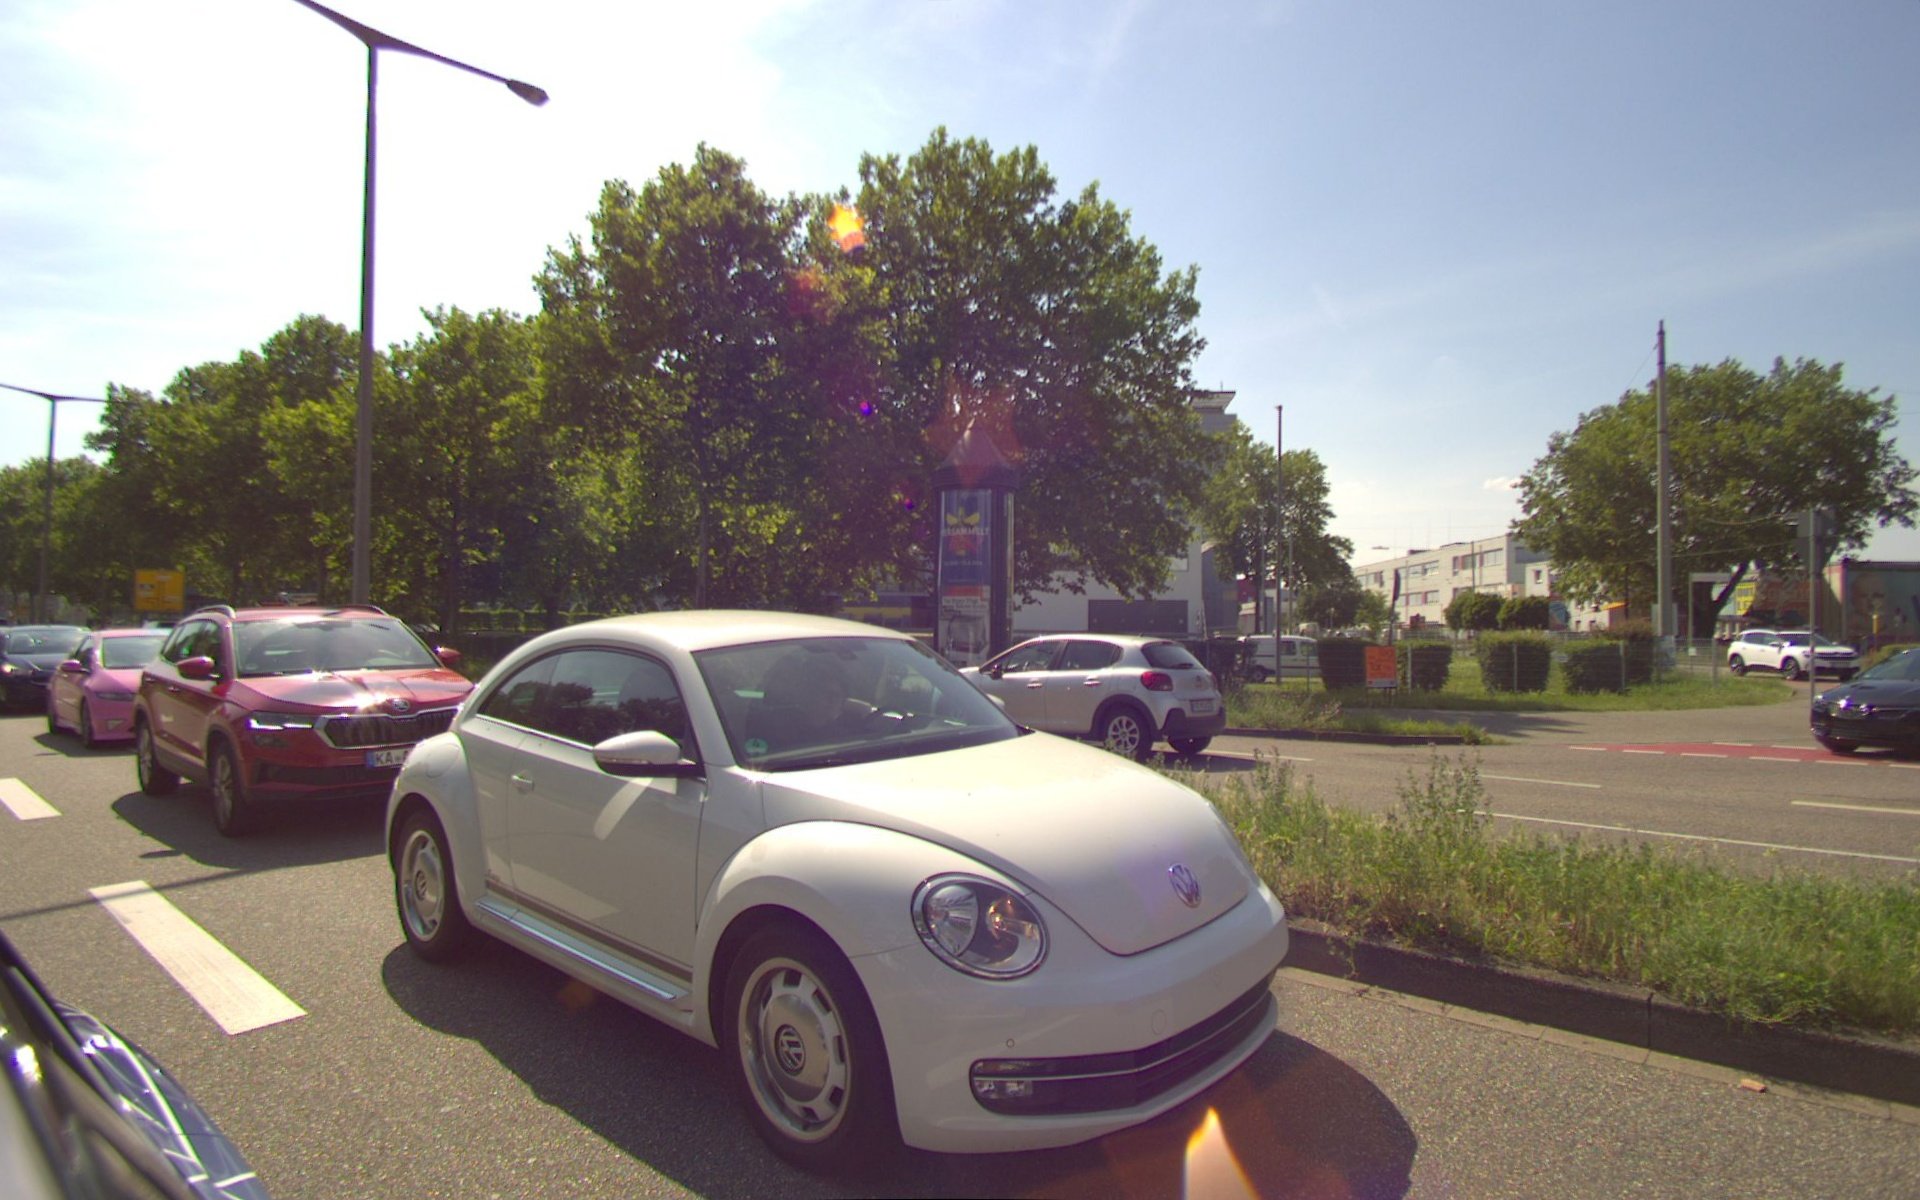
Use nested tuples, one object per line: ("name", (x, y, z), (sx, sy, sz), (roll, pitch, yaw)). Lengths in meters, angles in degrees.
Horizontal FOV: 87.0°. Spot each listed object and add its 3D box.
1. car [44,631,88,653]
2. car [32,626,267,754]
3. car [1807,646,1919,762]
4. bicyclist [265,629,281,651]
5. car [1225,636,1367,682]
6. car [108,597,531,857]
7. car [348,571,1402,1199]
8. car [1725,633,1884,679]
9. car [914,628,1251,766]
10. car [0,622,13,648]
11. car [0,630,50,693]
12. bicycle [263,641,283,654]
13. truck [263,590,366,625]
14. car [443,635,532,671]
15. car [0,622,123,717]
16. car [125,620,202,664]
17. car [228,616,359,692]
("car", (-62.189, 2.907, 70.392), (4.357, 1.409, 1.768), (-1, -4, 42))
("car", (-10.892, 1.083, 13.474), (4.470, 1.400, 1.684), (-2, -1, 41))
("car", (13.359, 1.303, 13.238), (3.930, 1.399, 1.770), (1, -3, -22))
("bicyclist", (-46.744, 2.701, 68.834), (0.941, 1.496, 0.674), (-2, -3, 42))
("car", (12.900, 2.256, 39.106), (4.780, 1.678, 1.998), (1, -3, 3))
("car", (-5.523, 0.845, 8.454), (4.591, 1.605, 1.764), (-2, -2, 41))
("car", (-0.705, 0.739, 3.977), (4.133, 1.490, 1.748), (-2, -1, 41))
("car", (27.480, 1.791, 33.132), (1.975, 1.431, 4.025), (0, -2, 5))
("car", (1.455, 1.138, 12.902), (3.999, 1.482, 1.756), (-2, -4, 42))
("car", (-72.949, 2.603, 75.983), (5.415, 1.898, 2.095), (-2, -3, 41))
("car", (-24.736, 1.541, 25.760), (4.214, 1.518, 1.803), (-2, -3, 41))
("bicycle", (-46.711, 3.244, 68.779), (1.925, 0.873, 0.682), (-1, -3, 42))
("truck", (-64.550, 0.740, 101.223), (8.877, 3.421, 2.669), (0, -2, 6))
("car", (-25.950, 2.881, 55.650), (3.941, 1.837, 2.158), (1, -1, -45))
("car", (-16.473, 1.179, 18.163), (4.046, 1.494, 1.609), (-2, -1, 41))
("car", (-38.333, 2.014, 48.643), (5.211, 2.029, 1.972), (-2, -3, 42))
("car", (-16.920, 1.326, 25.619), (4.401, 1.764, 1.842), (-2, -3, 45))
